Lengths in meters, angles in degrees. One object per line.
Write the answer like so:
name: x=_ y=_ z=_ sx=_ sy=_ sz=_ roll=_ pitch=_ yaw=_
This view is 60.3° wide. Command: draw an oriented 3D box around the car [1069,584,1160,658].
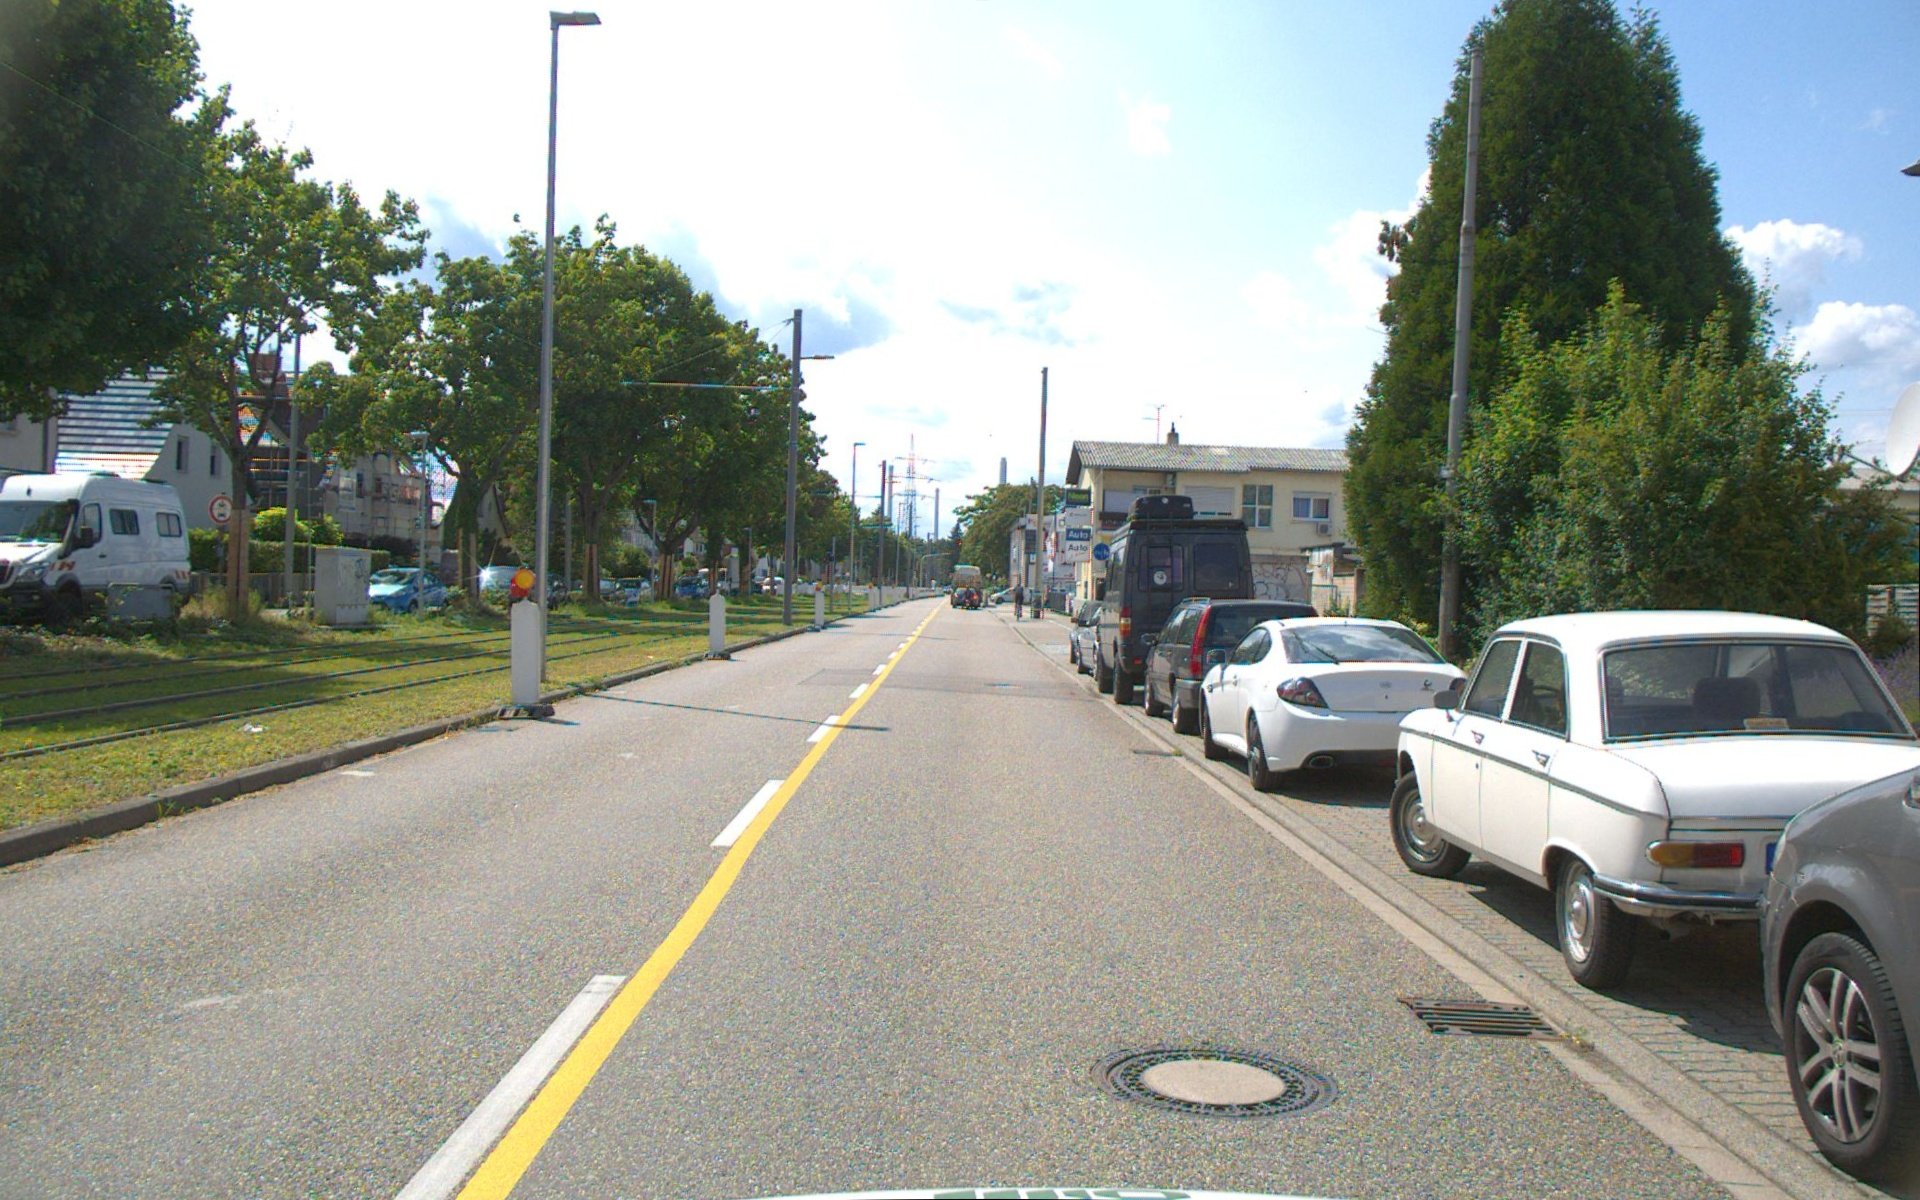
car: x=3.265 y=0.434 z=35.636 sx=1.617 sy=1.456 sz=4.097 roll=1 pitch=0 yaw=1

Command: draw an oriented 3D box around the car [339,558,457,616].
car: x=-15.231 y=-0.321 z=45.025 sx=1.717 sy=1.461 sz=3.890 roll=1 pitch=0 yaw=2

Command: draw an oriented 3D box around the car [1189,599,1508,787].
car: x=3.101 y=0.675 z=14.046 sx=1.686 sy=1.318 sz=4.128 roll=1 pitch=0 yaw=-1

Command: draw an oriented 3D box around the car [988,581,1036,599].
car: x=4.852 y=-0.947 z=155.935 sx=4.249 sy=1.579 sz=1.946 roll=2 pitch=0 yaw=-8

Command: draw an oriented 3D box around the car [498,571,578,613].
car: x=-15.635 y=-0.280 z=61.467 sx=1.953 sy=1.464 sz=3.999 roll=1 pitch=0 yaw=0

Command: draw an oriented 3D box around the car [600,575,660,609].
car: x=-15.374 y=-0.368 z=77.315 sx=1.768 sy=1.508 sz=4.939 roll=1 pitch=0 yaw=0

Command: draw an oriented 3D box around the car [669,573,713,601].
car: x=-15.399 y=-0.724 z=94.881 sx=1.953 sy=1.478 sz=3.998 roll=1 pitch=0 yaw=-2

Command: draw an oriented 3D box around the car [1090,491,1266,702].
car: x=3.136 y=-0.058 z=24.763 sx=1.955 sy=2.809 sz=4.878 roll=1 pitch=0 yaw=0

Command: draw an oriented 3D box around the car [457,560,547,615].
car: x=-15.361 y=-0.406 z=55.689 sx=1.954 sy=1.720 sz=4.389 roll=1 pitch=0 yaw=-3

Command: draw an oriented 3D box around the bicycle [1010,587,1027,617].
bicycle: x=2.727 y=0.090 z=77.259 sx=0.678 sy=1.385 sz=2.418 roll=2 pitch=0 yaw=0

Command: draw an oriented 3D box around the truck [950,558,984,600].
truck: x=0.604 y=-1.762 z=134.830 sx=2.557 sy=3.312 sz=9.184 roll=1 pitch=1 yaw=1

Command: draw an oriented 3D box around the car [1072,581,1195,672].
car: x=3.170 y=0.476 z=30.939 sx=1.657 sy=1.542 sz=4.354 roll=1 pitch=0 yaw=-2

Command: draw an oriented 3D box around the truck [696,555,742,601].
truck: x=-15.381 y=-1.408 z=105.824 sx=1.953 sy=2.816 sz=6.276 roll=-1 pitch=1 yaw=0

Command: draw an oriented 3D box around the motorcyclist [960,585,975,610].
motorcyclist: x=0.543 y=-0.157 z=113.850 sx=0.920 sy=1.643 sz=1.205 roll=4 pitch=0 yaw=0

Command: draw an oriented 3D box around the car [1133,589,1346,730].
car: x=3.141 y=0.609 z=19.509 sx=1.686 sy=1.426 sz=4.837 roll=1 pitch=0 yaw=0

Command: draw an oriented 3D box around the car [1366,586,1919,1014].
car: x=3.173 y=0.685 z=7.663 sx=1.616 sy=1.443 sz=4.026 roll=1 pitch=0 yaw=1

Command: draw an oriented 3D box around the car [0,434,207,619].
car: x=-15.173 y=-1.157 z=28.052 sx=1.953 sy=2.778 sz=6.460 roll=1 pitch=0 yaw=-2

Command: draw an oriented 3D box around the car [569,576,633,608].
car: x=-15.507 y=-0.317 z=71.660 sx=1.953 sy=1.341 sz=3.852 roll=0 pitch=0 yaw=0

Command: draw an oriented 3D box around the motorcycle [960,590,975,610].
motorcycle: x=0.530 y=-0.002 z=114.031 sx=0.920 sy=1.343 sz=2.645 roll=4 pitch=0 yaw=0

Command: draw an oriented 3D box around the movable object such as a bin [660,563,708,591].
movable object such as a bin: x=-26.562 y=-2.190 z=159.180 sx=4.275 sy=2.492 sz=1.777 roll=2 pitch=0 yaw=-22

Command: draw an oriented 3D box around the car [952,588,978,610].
car: x=0.374 y=-0.089 z=118.505 sx=1.784 sy=1.449 sz=4.000 roll=3 pitch=0 yaw=0

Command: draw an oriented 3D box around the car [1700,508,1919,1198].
car: x=3.146 y=0.625 z=3.010 sx=1.645 sy=1.658 sz=4.270 roll=1 pitch=0 yaw=0

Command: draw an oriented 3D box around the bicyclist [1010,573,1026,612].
bicyclist: x=2.698 y=-0.364 z=77.274 sx=0.657 sy=1.774 sz=0.813 roll=2 pitch=0 yaw=0
